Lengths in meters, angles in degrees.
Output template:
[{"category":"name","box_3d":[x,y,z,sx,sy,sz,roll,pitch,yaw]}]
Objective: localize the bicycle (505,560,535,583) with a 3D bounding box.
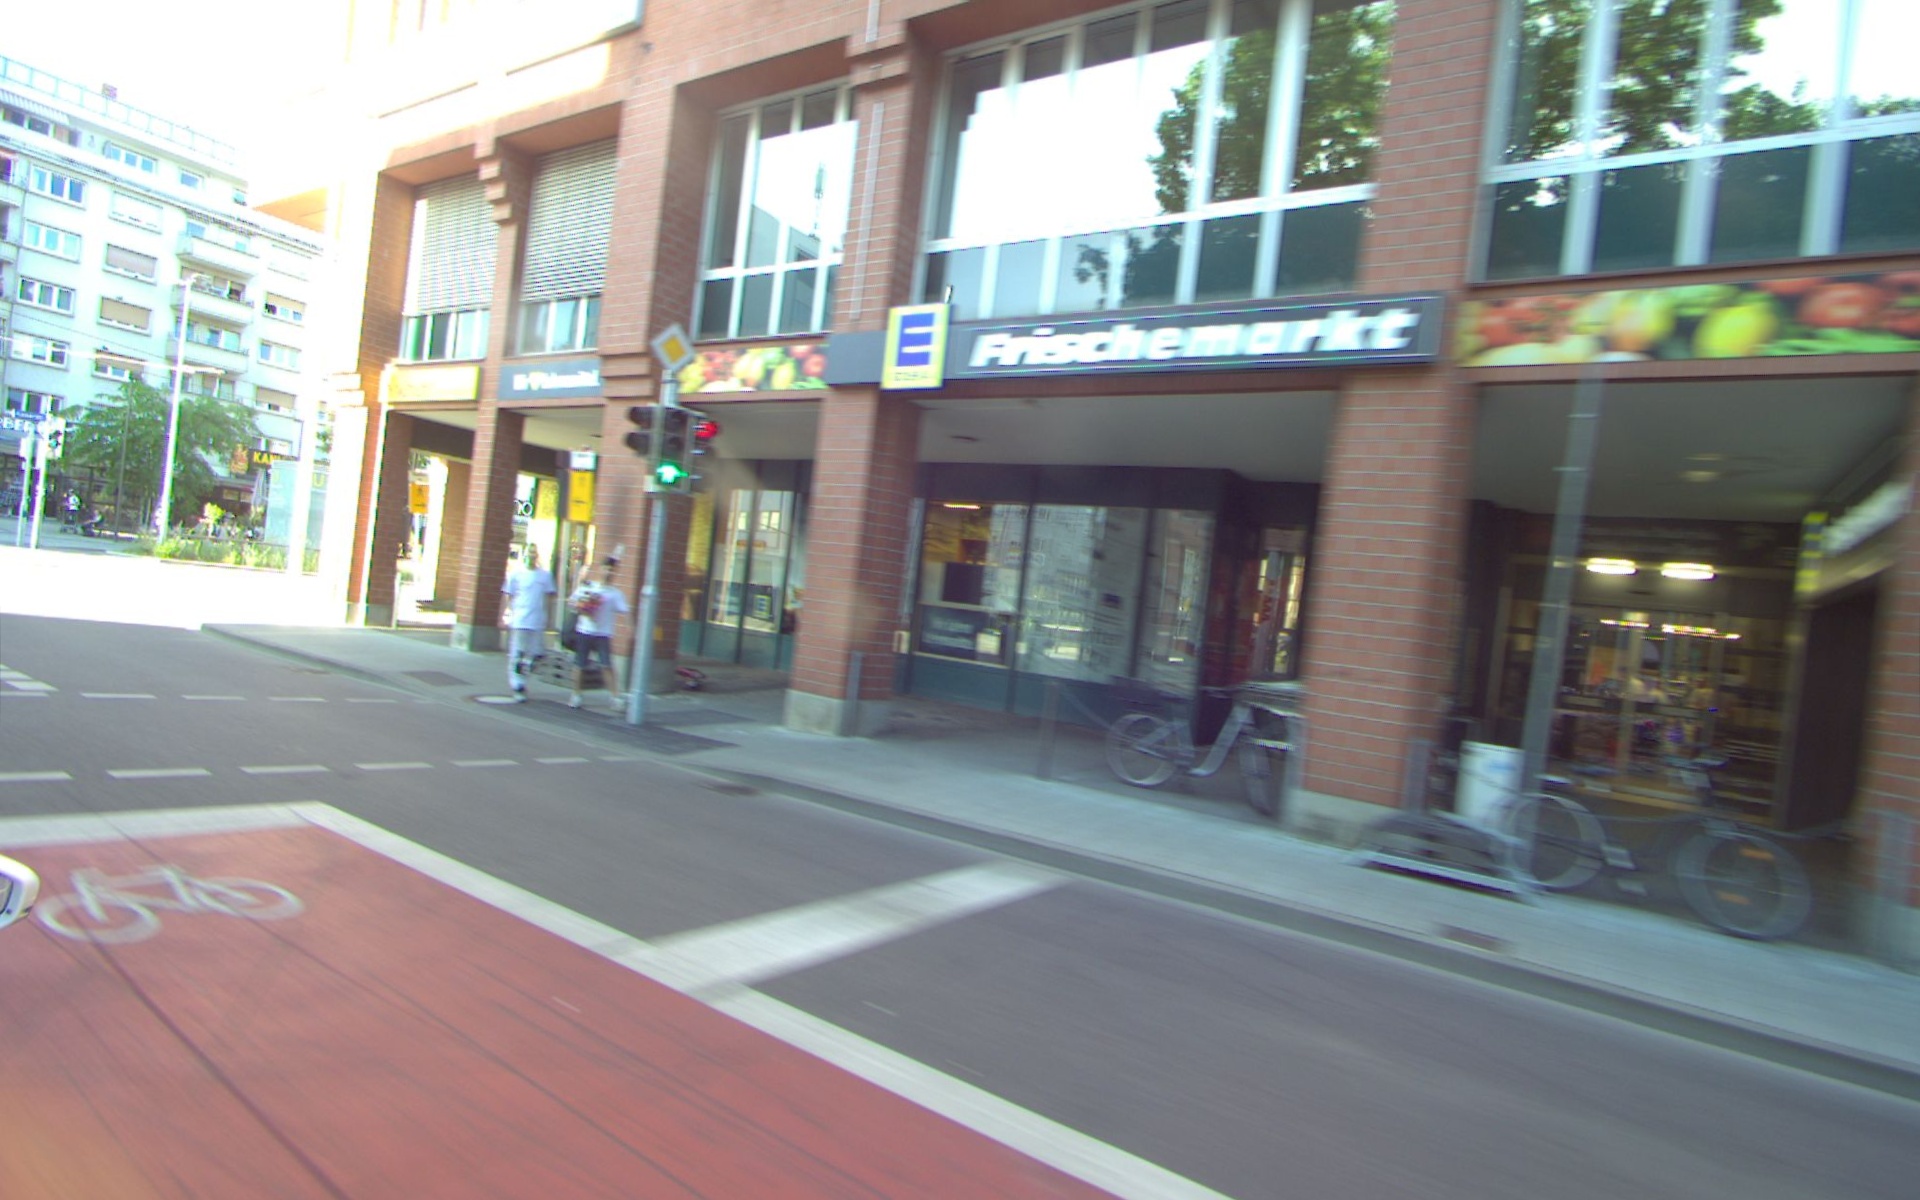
[{"category":"bicycle","box_3d":[-26.959,-1.728,61.669,0.884,1.267,2.212,7,0,-5]}]

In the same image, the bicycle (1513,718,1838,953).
[{"category":"bicycle","box_3d":[4.785,1.532,6.844,1.652,1.198,0.339,7,0,35]}]

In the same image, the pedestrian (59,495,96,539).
[{"category":"pedestrian","box_3d":[-40.946,-3.855,46.662,0.677,1.889,1.042,7,0,36]}]

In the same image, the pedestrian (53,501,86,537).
[{"category":"pedestrian","box_3d":[-39.534,-3.606,44.691,0.711,1.464,0.924,7,0,-23]}]

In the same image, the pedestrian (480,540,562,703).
[{"category":"pedestrian","box_3d":[-5.091,0.255,11.678,0.532,1.814,0.476,7,0,33]}]

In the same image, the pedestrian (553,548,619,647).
[{"category":"pedestrian","box_3d":[-6.775,-0.038,18.221,0.784,1.682,0.600,7,0,33]}]

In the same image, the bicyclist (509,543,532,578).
[{"category":"bicyclist","box_3d":[-26.884,-2.411,61.605,0.884,1.973,0.786,7,0,-6]}]

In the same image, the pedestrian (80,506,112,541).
[{"category":"pedestrian","box_3d":[-38.482,-3.390,44.804,0.712,1.437,0.923,7,0,-25]}]

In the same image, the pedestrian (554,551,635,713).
[{"category":"pedestrian","box_3d":[-4.171,0.355,11.471,0.628,1.746,0.626,7,0,-27]}]

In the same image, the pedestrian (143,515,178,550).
[{"category":"pedestrian","box_3d":[-35.880,-3.025,45.151,1.089,1.381,0.720,7,0,25]}]

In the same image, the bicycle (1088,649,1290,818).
[{"category":"bicycle","box_3d":[2.080,1.188,9.290,1.683,1.271,0.339,7,0,35]}]

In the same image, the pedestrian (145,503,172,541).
[{"category":"pedestrian","box_3d":[-39.867,-3.894,50.032,0.704,1.767,0.682,7,0,23]}]
